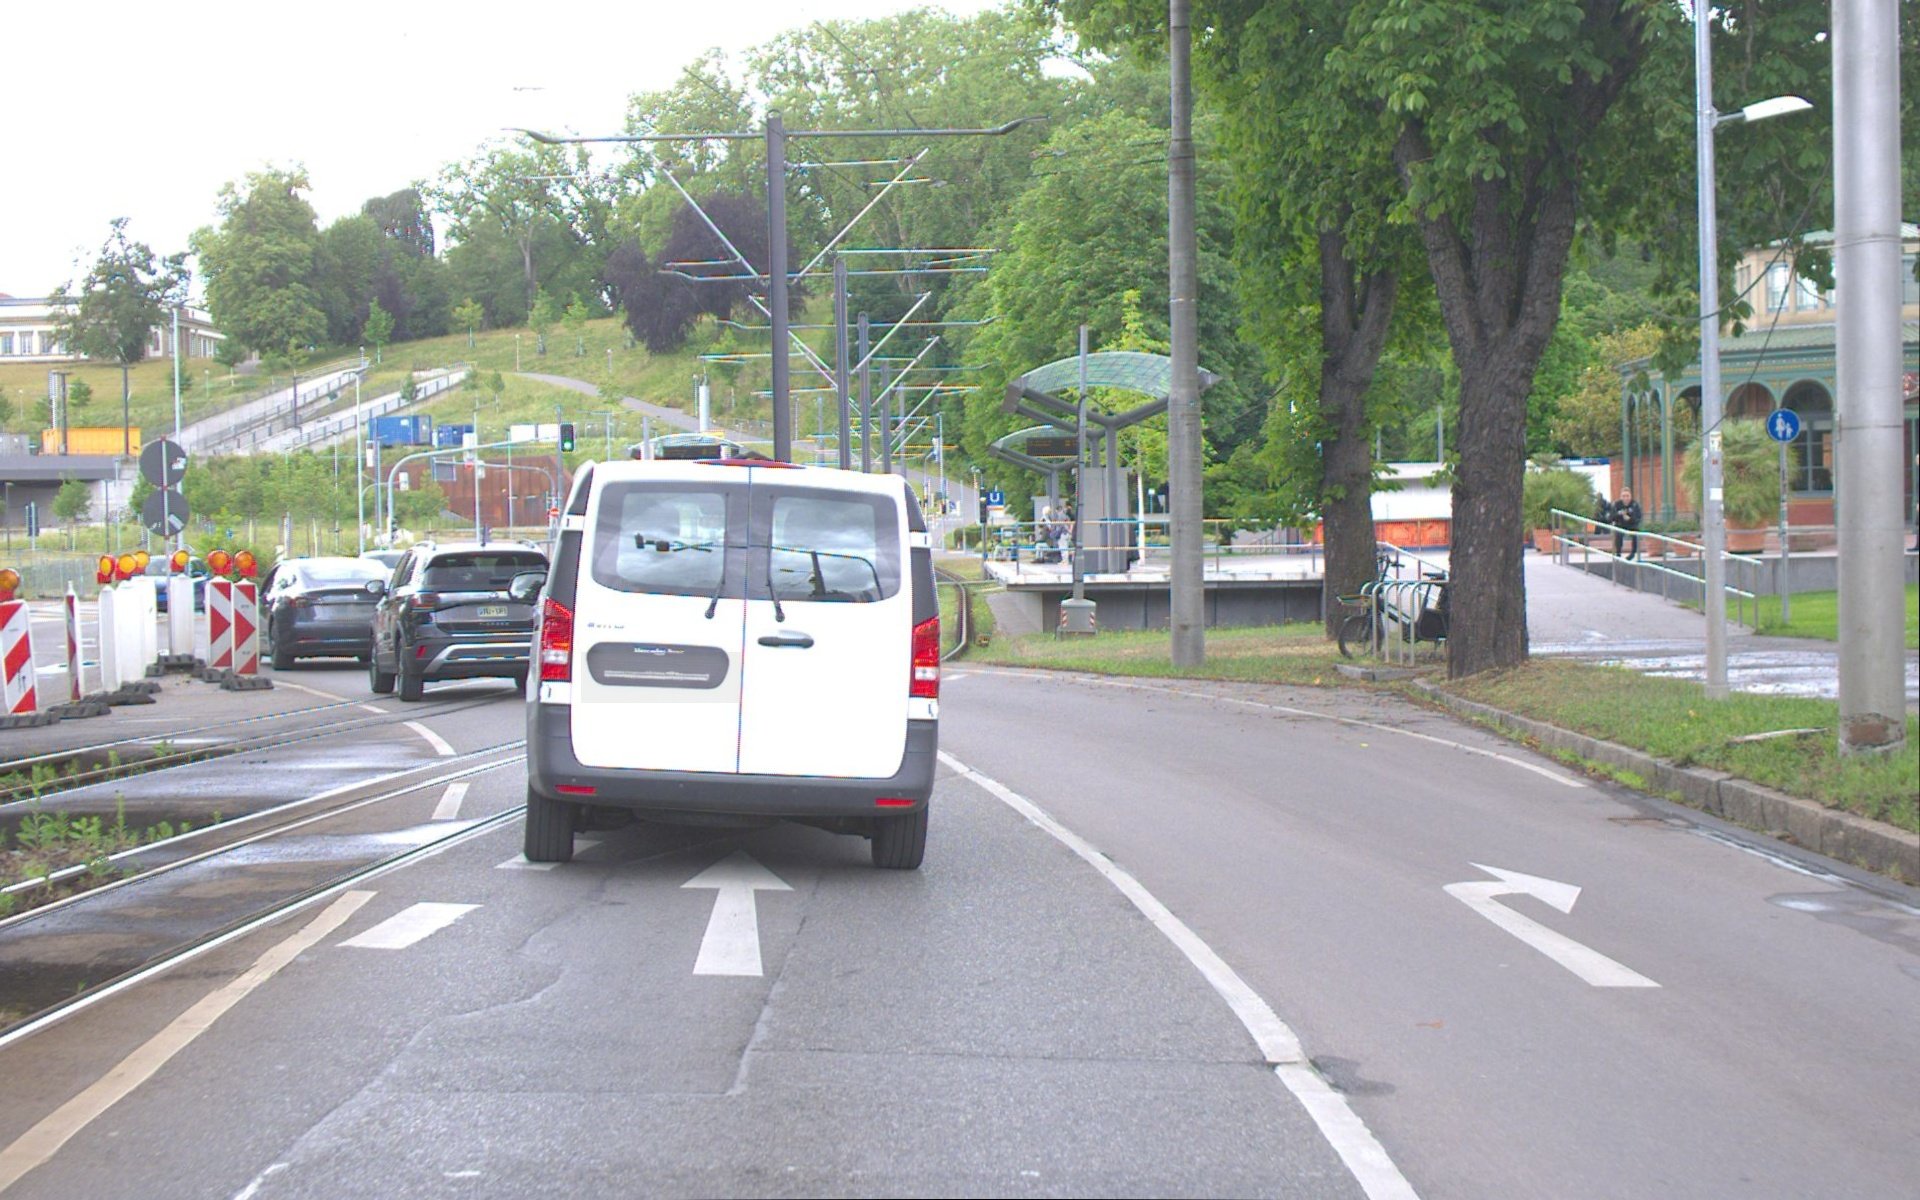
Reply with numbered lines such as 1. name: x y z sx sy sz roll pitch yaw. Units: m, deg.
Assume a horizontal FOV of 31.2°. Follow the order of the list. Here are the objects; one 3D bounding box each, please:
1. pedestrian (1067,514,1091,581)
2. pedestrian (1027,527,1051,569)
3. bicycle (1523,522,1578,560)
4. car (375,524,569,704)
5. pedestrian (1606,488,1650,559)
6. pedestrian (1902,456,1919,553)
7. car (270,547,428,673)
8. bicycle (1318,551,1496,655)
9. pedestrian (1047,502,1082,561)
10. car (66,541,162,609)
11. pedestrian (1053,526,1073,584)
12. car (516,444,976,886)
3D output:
1. pedestrian: 3.299 -1.440 95.024 0.632 1.832 0.950 1 0 2
2. pedestrian: 2.284 -1.501 99.090 0.657 1.187 0.675 1 0 2
3. bicycle: 16.829 -1.686 98.046 0.562 1.057 1.716 1 0 -30
4. car: -4.978 0.122 35.038 1.838 1.723 4.063 0 0 -8
5. pedestrian: 11.508 -1.318 59.200 0.548 1.197 0.669 1 0 -6
6. pedestrian: 18.500 -1.806 65.445 0.950 1.831 0.549 1 0 29
7. car: -8.067 0.109 45.145 1.838 1.577 4.063 0 0 -13
8. bicycle: 5.190 0.033 39.998 1.991 1.154 0.741 -1 0 5
9. pedestrian: 3.003 -1.964 98.978 0.860 1.671 0.762 1 0 -10
10. car: -19.784 -0.601 80.509 1.694 1.456 3.914 -2 2 -7
11. pedestrian: 2.927 -1.277 97.756 0.524 1.614 0.675 1 0 2
12. car: -1.202 0.264 17.089 1.959 1.897 4.462 0 0 -8
